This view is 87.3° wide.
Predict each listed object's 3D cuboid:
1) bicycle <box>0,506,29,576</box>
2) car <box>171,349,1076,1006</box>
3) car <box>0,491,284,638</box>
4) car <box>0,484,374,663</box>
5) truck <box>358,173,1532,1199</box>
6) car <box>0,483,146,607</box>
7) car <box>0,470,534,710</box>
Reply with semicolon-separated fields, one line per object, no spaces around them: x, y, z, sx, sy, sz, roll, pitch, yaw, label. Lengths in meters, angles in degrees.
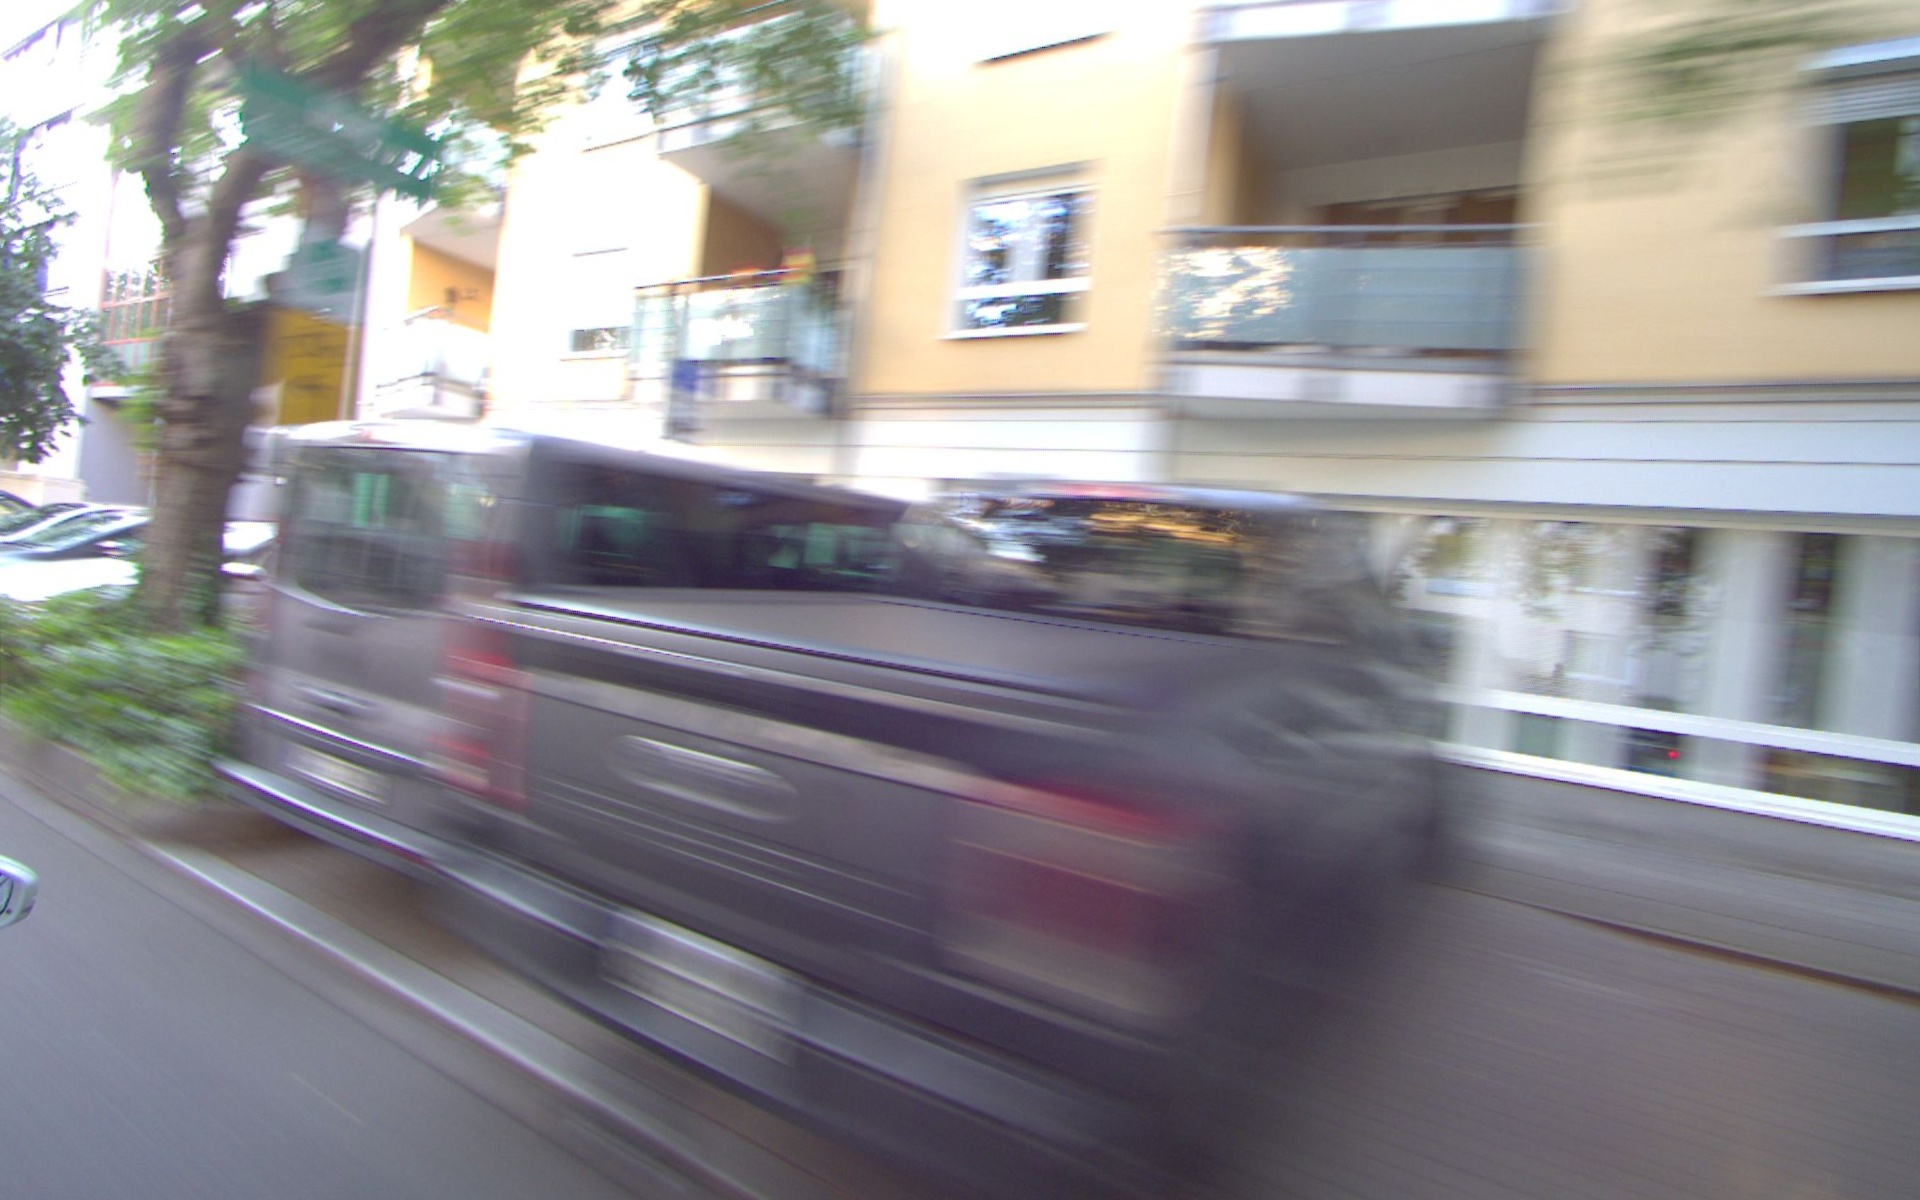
-17.541;-1.091;18.185;1.476;1.189;0.725;7;5;33;bicycle
-1.330;0.203;5.779;2.003;2.162;4.618;7;3;32;car
-10.995;-0.463;12.143;1.838;1.526;4.291;7;-1;24;car
-8.963;-0.265;10.877;1.822;1.582;4.074;7;-1;30;car
1.019;0.435;4.518;2.224;2.162;6.001;7;3;32;truck
-13.171;-0.815;13.285;1.718;1.546;3.350;7;2;33;car
-6.692;-0.010;9.348;1.805;1.725;4.803;7;-1;30;car
